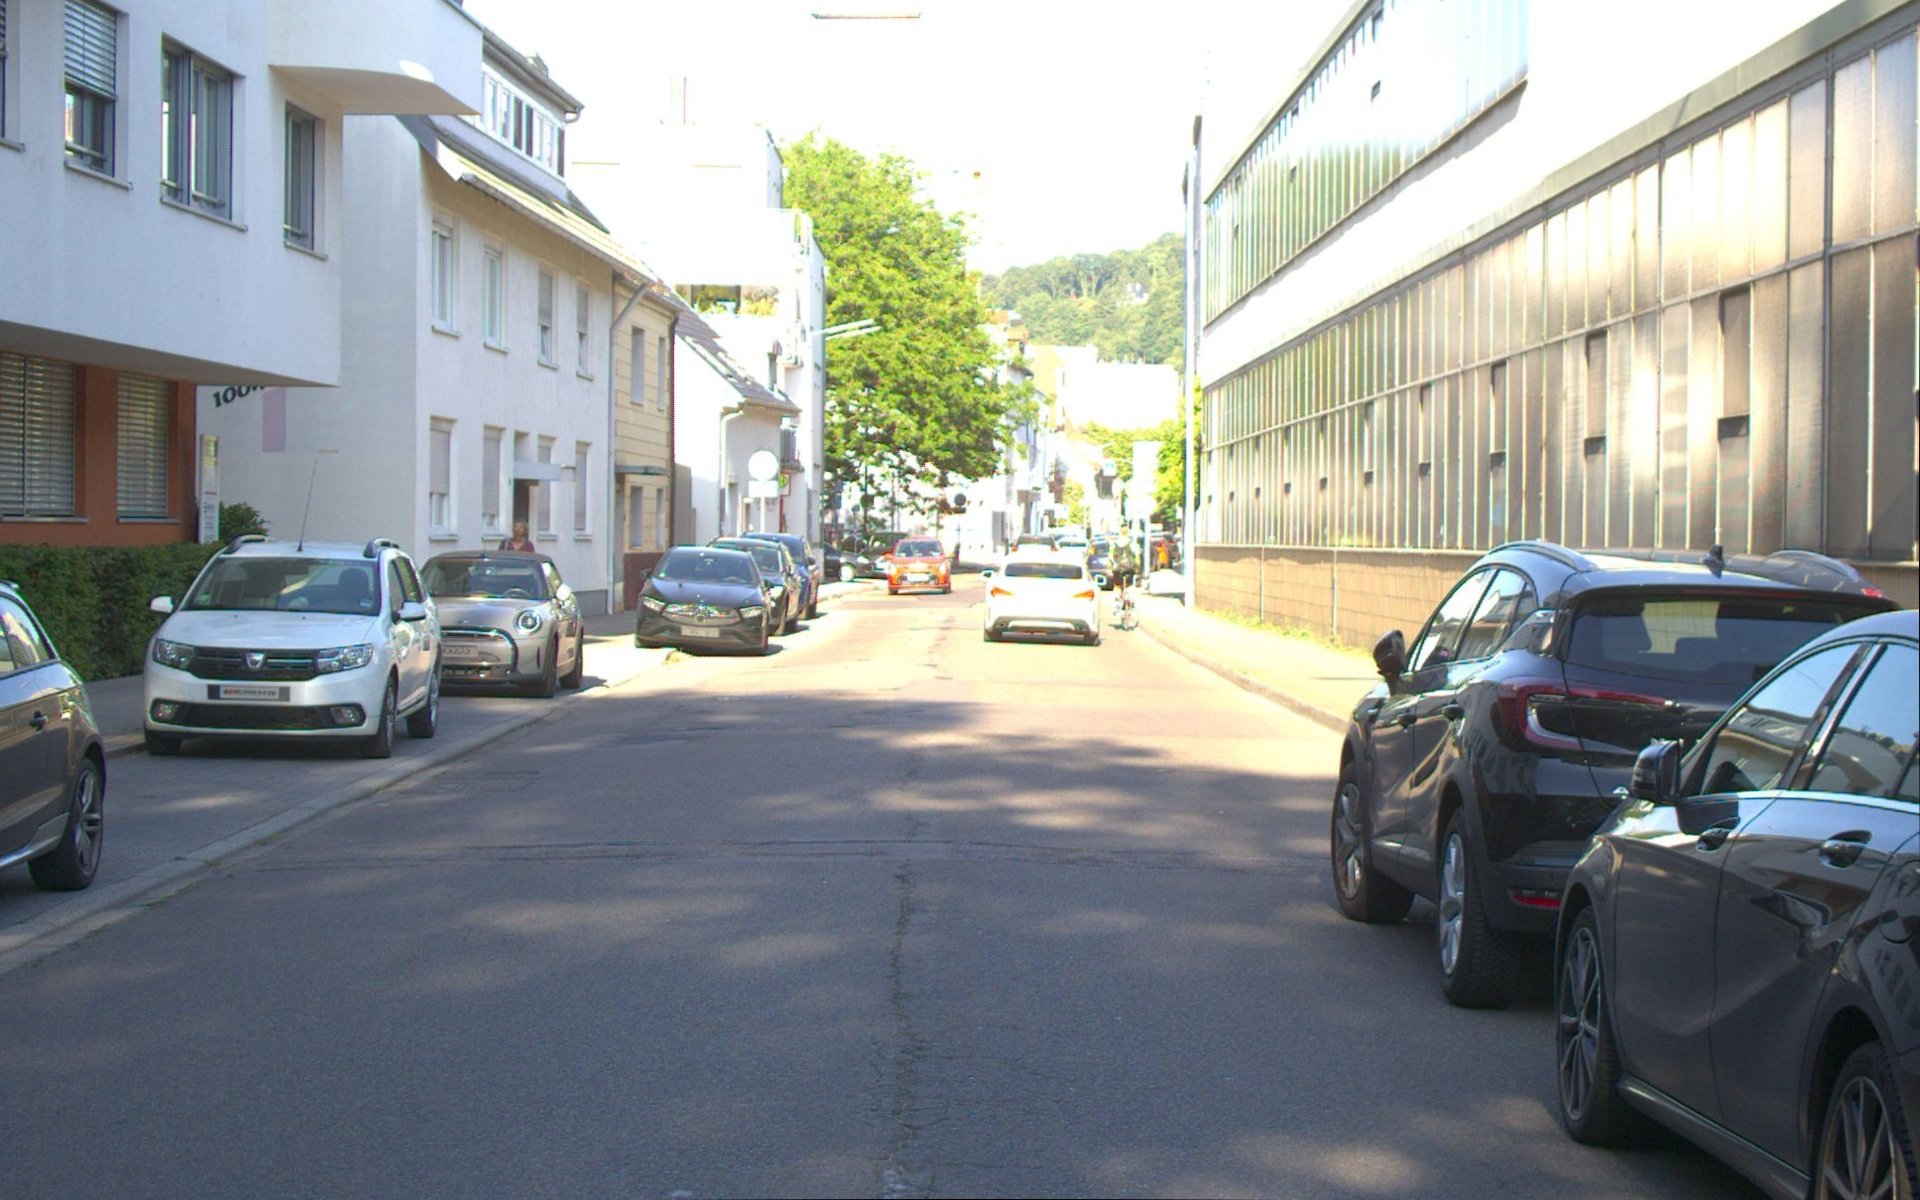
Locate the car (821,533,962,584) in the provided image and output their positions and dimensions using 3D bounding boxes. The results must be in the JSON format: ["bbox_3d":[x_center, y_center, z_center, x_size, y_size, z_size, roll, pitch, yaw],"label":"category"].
[{"bbox_3d":[-2.137,-1.312,107.968,4.132,1.486,1.848,2,1,8],"label":"car"}]

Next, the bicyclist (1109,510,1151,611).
[{"bbox_3d":[3.076,-0.717,62.151,0.698,1.784,1.040,2,1,2],"label":"bicyclist"}]

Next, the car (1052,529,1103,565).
[{"bbox_3d":[5.117,-2.268,148.954,1.842,1.486,4.143,2,1,6],"label":"car"}]

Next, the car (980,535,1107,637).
[{"bbox_3d":[1.274,-0.239,53.877,1.842,1.486,4.144,2,1,0],"label":"car"}]

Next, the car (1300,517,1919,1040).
[{"bbox_3d":[2.502,0.542,12.989,1.807,1.581,4.405,3,1,-2],"label":"car"}]

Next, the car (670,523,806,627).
[{"bbox_3d":[-3.721,-0.457,58.374,1.858,1.581,4.336,3,2,1],"label":"car"}]

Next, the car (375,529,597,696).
[{"bbox_3d":[-4.762,0.094,35.006,1.667,1.530,3.857,3,1,0],"label":"car"}]

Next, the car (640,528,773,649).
[{"bbox_3d":[-3.489,-0.186,47.935,1.684,1.530,4.335,3,1,-3],"label":"car"}]

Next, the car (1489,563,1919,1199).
[{"bbox_3d":[2.457,0.702,7.790,1.750,1.486,4.621,3,1,0],"label":"car"}]

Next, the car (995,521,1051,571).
[{"bbox_3d":[2.329,-2.027,127.954,1.853,1.785,4.608,1,1,-1],"label":"car"}]

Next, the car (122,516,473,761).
[{"bbox_3d":[-4.837,0.232,25.732,1.857,1.581,4.622,3,1,-3],"label":"car"}]

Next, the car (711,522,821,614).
[{"bbox_3d":[-3.759,-0.650,67.231,1.809,1.581,4.193,3,2,1],"label":"car"}]

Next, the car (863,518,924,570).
[{"bbox_3d":[-2.332,-1.994,121.743,1.853,1.785,4.607,2,1,2],"label":"car"}]

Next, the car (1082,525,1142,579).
[{"bbox_3d":[4.609,-1.454,104.393,1.629,1.581,4.069,-2,1,1],"label":"car"}]

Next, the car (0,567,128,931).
[{"bbox_3d":[-4.651,0.572,13.858,1.674,1.428,3.771,3,1,-1],"label":"car"}]

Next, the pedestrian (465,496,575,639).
[{"bbox_3d":[-5.813,-0.423,45.444,0.862,1.812,1.130,5,2,24],"label":"pedestrian"}]

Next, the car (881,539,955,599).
[{"bbox_3d":[-1.093,-0.822,90.590,1.842,1.486,4.144,2,1,0],"label":"car"}]

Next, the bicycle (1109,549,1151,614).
[{"bbox_3d":[3.068,-0.344,62.125,0.698,1.126,2.403,2,1,2],"label":"bicycle"}]
